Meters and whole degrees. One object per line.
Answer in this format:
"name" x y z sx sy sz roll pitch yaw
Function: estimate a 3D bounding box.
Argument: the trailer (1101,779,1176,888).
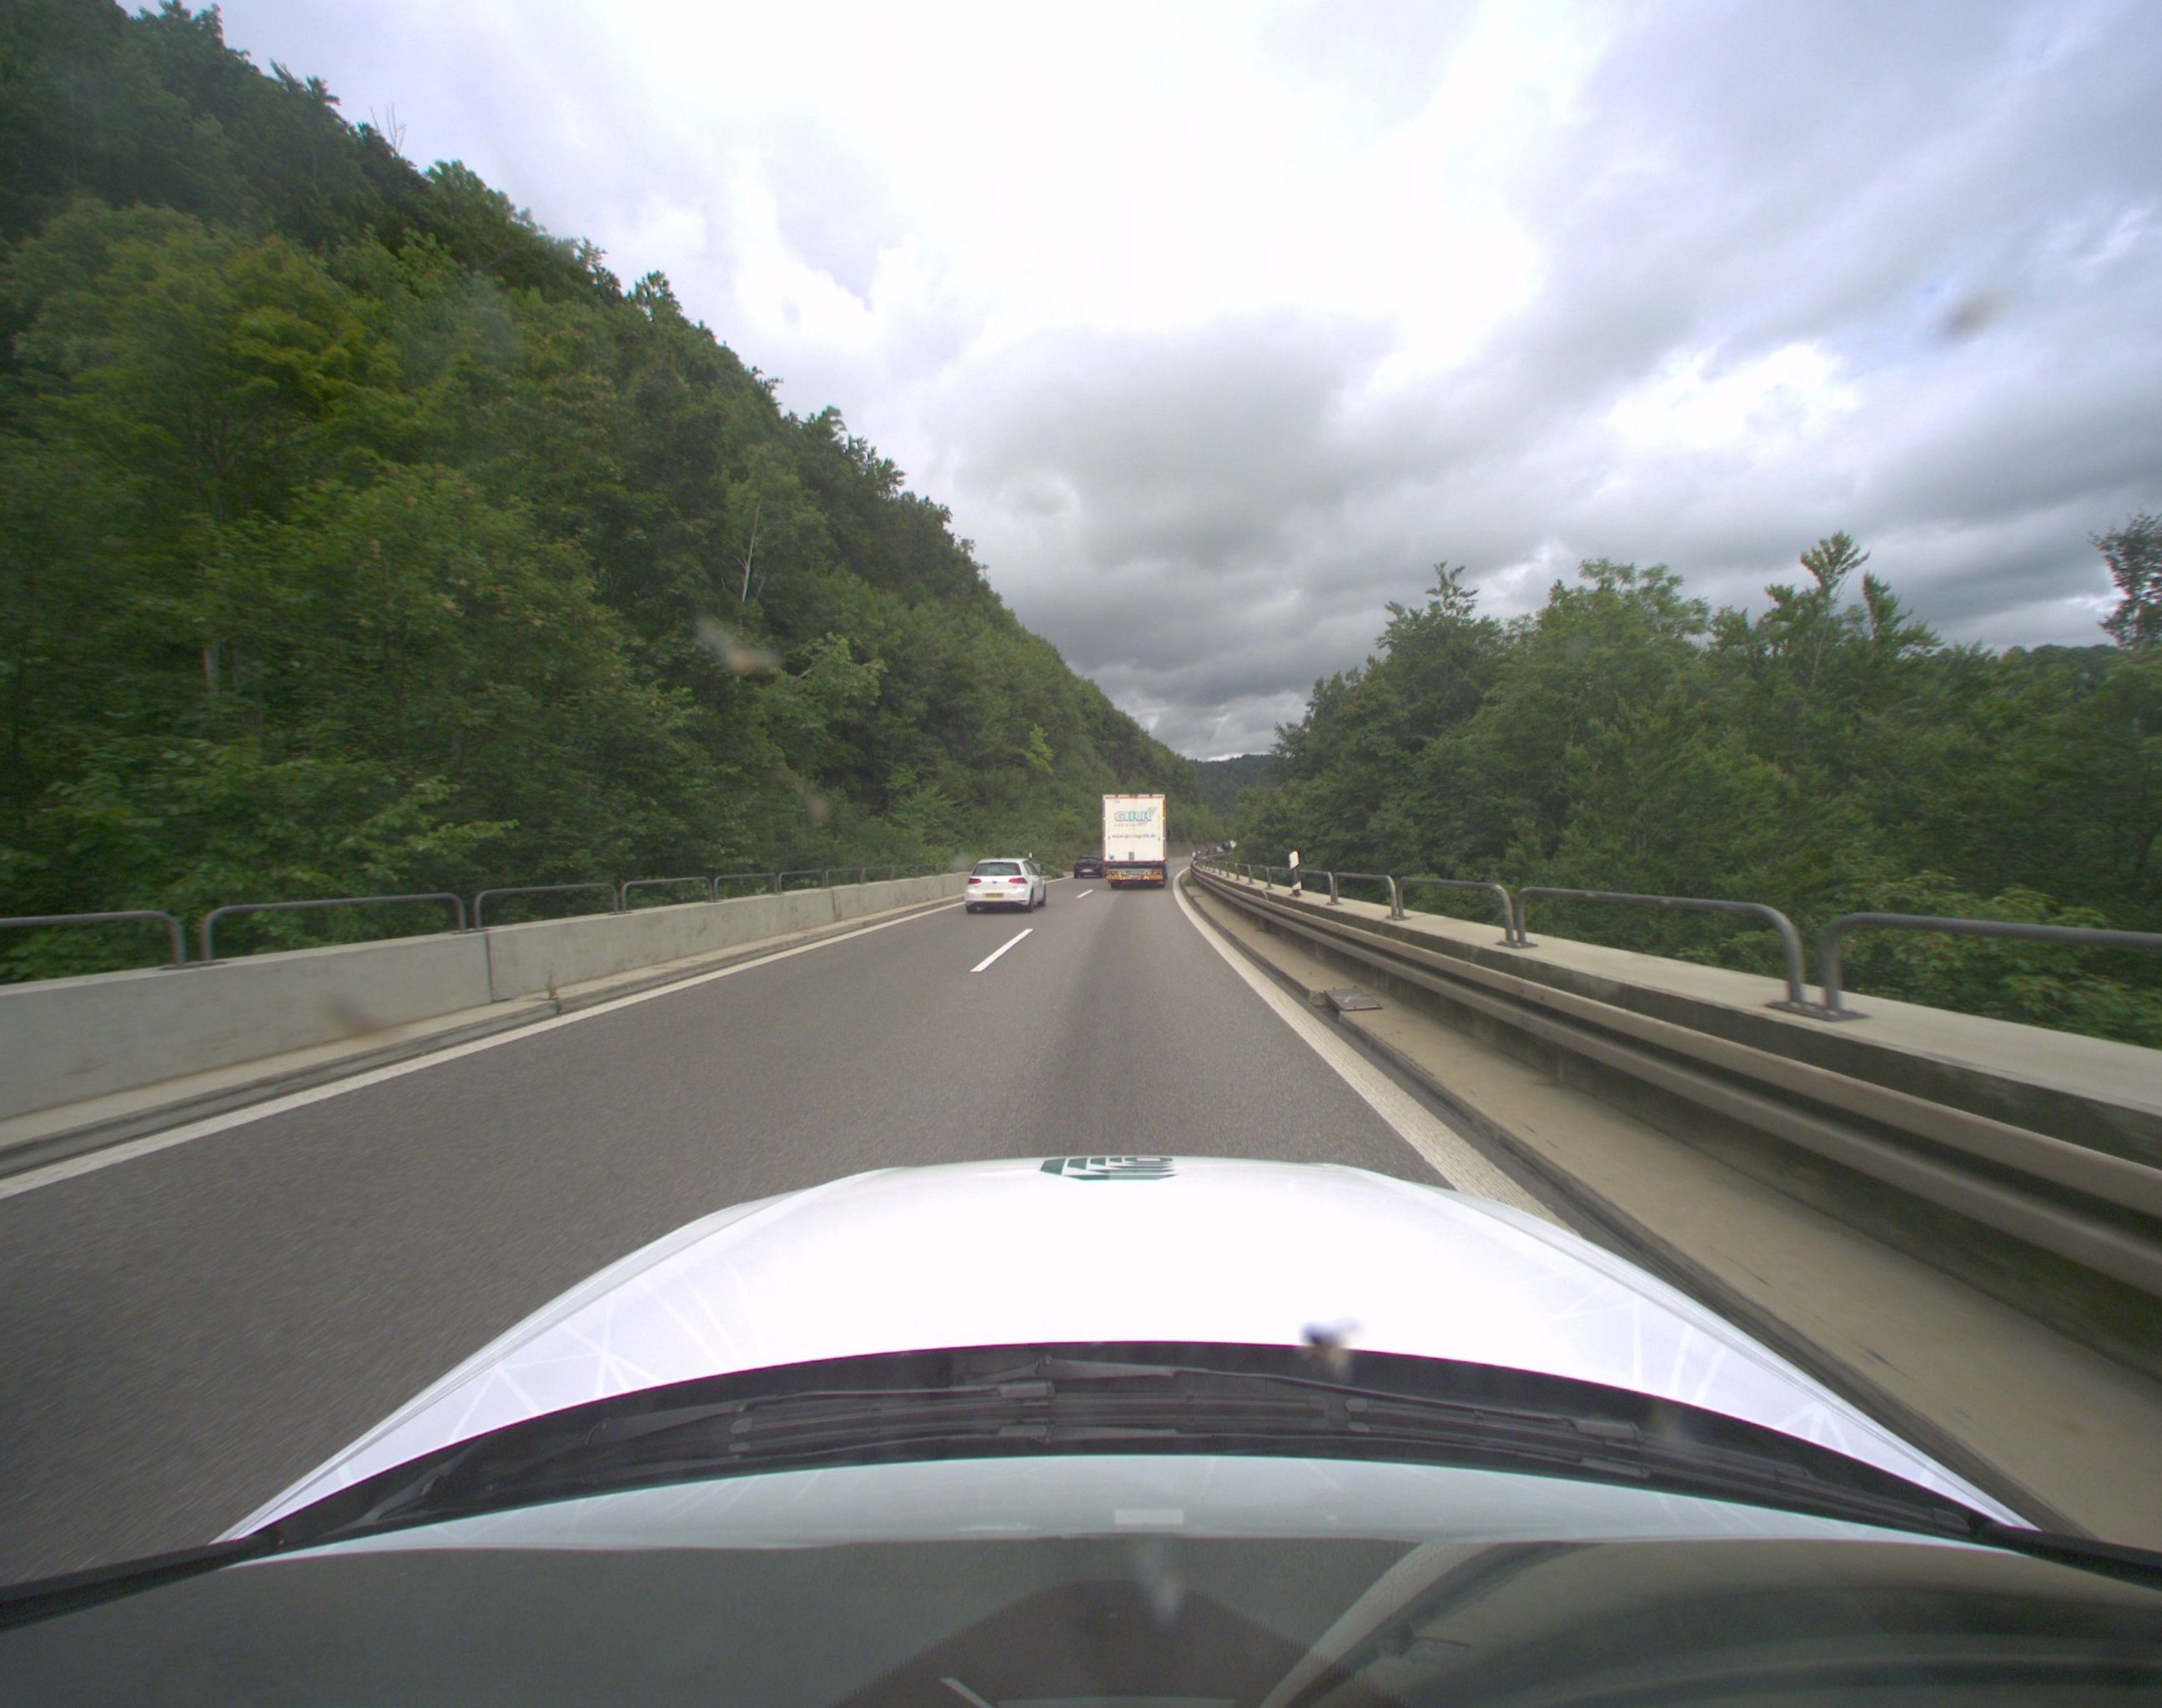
"trailer" 3.018 -0.750 39.147 2.798 4.302 12.267 -2 -1 7

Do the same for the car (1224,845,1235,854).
"car" 33.457 -1.017 183.406 1.978 1.783 4.018 -1 0 18

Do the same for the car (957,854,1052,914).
"car" -2.009 0.749 22.773 1.836 1.482 4.633 -1 0 4

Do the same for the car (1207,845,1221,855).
"car" 22.889 -0.660 140.393 1.979 1.565 4.016 -2 -1 15

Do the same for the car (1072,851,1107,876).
"car" 0.584 0.598 51.023 1.765 1.461 4.588 -1 -1 5

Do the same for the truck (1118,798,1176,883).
"truck" 3.808 -0.679 45.598 2.798 4.302 6.270 -2 -1 7
